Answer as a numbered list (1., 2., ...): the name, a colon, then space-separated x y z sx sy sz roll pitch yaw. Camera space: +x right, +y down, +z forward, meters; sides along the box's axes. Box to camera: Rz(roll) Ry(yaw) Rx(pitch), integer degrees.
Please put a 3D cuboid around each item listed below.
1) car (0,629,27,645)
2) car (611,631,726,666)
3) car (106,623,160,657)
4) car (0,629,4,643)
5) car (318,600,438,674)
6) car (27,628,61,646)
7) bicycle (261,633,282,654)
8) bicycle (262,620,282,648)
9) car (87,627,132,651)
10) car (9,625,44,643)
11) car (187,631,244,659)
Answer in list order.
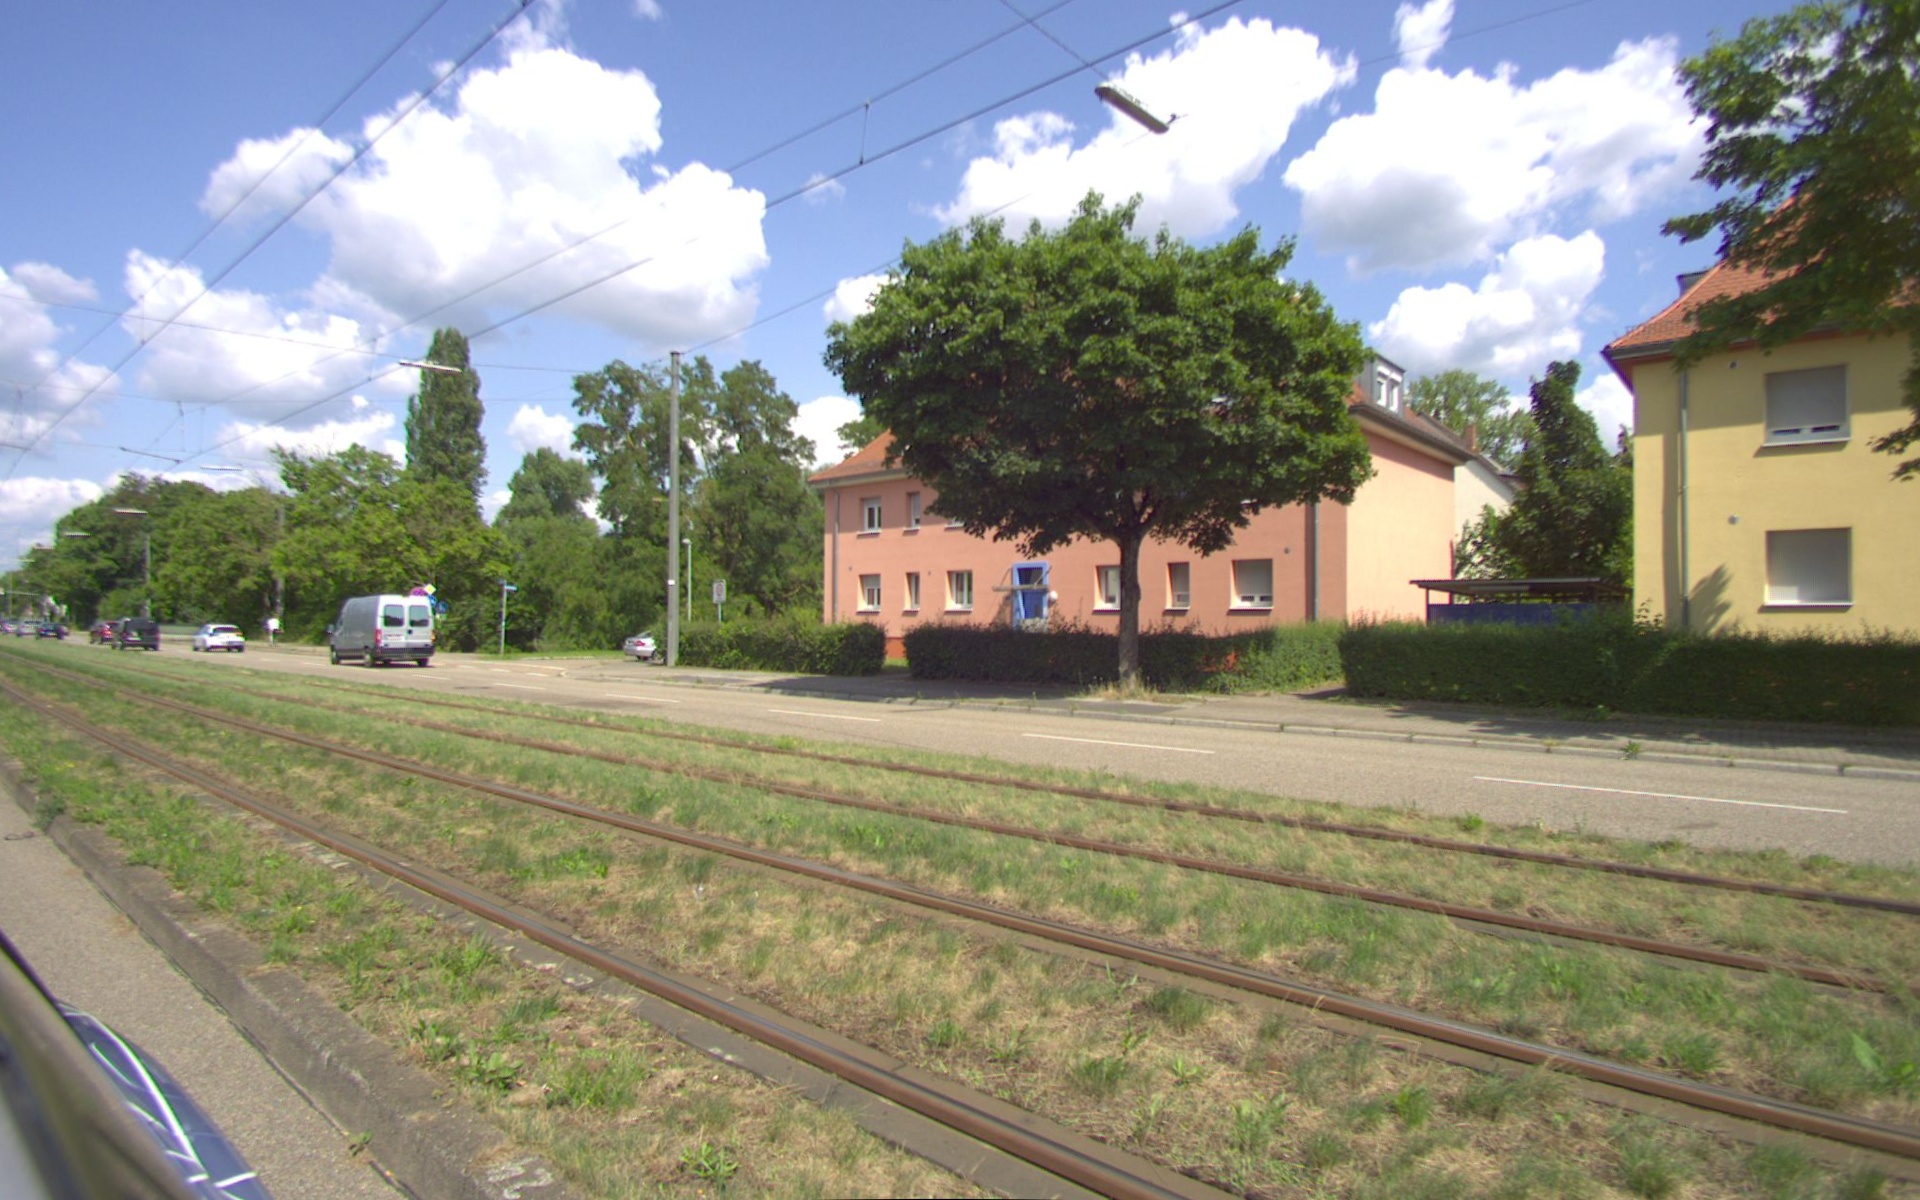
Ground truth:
1. car: -99.316 3.892 106.158 4.277 1.664 1.896 -2 -2 44
2. car: -12.706 2.081 44.290 4.402 1.416 2.003 1 -2 -40
3. car: -44.489 2.121 54.413 4.227 1.760 1.667 -2 -2 42
4. car: -112.399 4.178 117.341 4.277 1.664 2.092 -2 -2 44
5. car: -21.093 1.343 36.562 5.776 2.455 2.010 -2 -4 42
6. car: -73.413 2.932 81.104 4.277 1.405 1.708 -2 -2 44
7. bicycle: -41.390 2.601 60.828 1.957 1.197 0.634 -2 -2 44
8. bicycle: -41.341 2.043 60.794 0.952 1.697 0.790 -2 -2 42
9. car: -58.374 2.642 69.436 4.274 1.591 1.709 -2 -2 41
10. car: -86.375 3.135 93.649 4.277 1.664 2.092 -2 -2 44
11. car: -40.222 2.392 54.670 4.276 1.442 1.667 -2 -2 42
